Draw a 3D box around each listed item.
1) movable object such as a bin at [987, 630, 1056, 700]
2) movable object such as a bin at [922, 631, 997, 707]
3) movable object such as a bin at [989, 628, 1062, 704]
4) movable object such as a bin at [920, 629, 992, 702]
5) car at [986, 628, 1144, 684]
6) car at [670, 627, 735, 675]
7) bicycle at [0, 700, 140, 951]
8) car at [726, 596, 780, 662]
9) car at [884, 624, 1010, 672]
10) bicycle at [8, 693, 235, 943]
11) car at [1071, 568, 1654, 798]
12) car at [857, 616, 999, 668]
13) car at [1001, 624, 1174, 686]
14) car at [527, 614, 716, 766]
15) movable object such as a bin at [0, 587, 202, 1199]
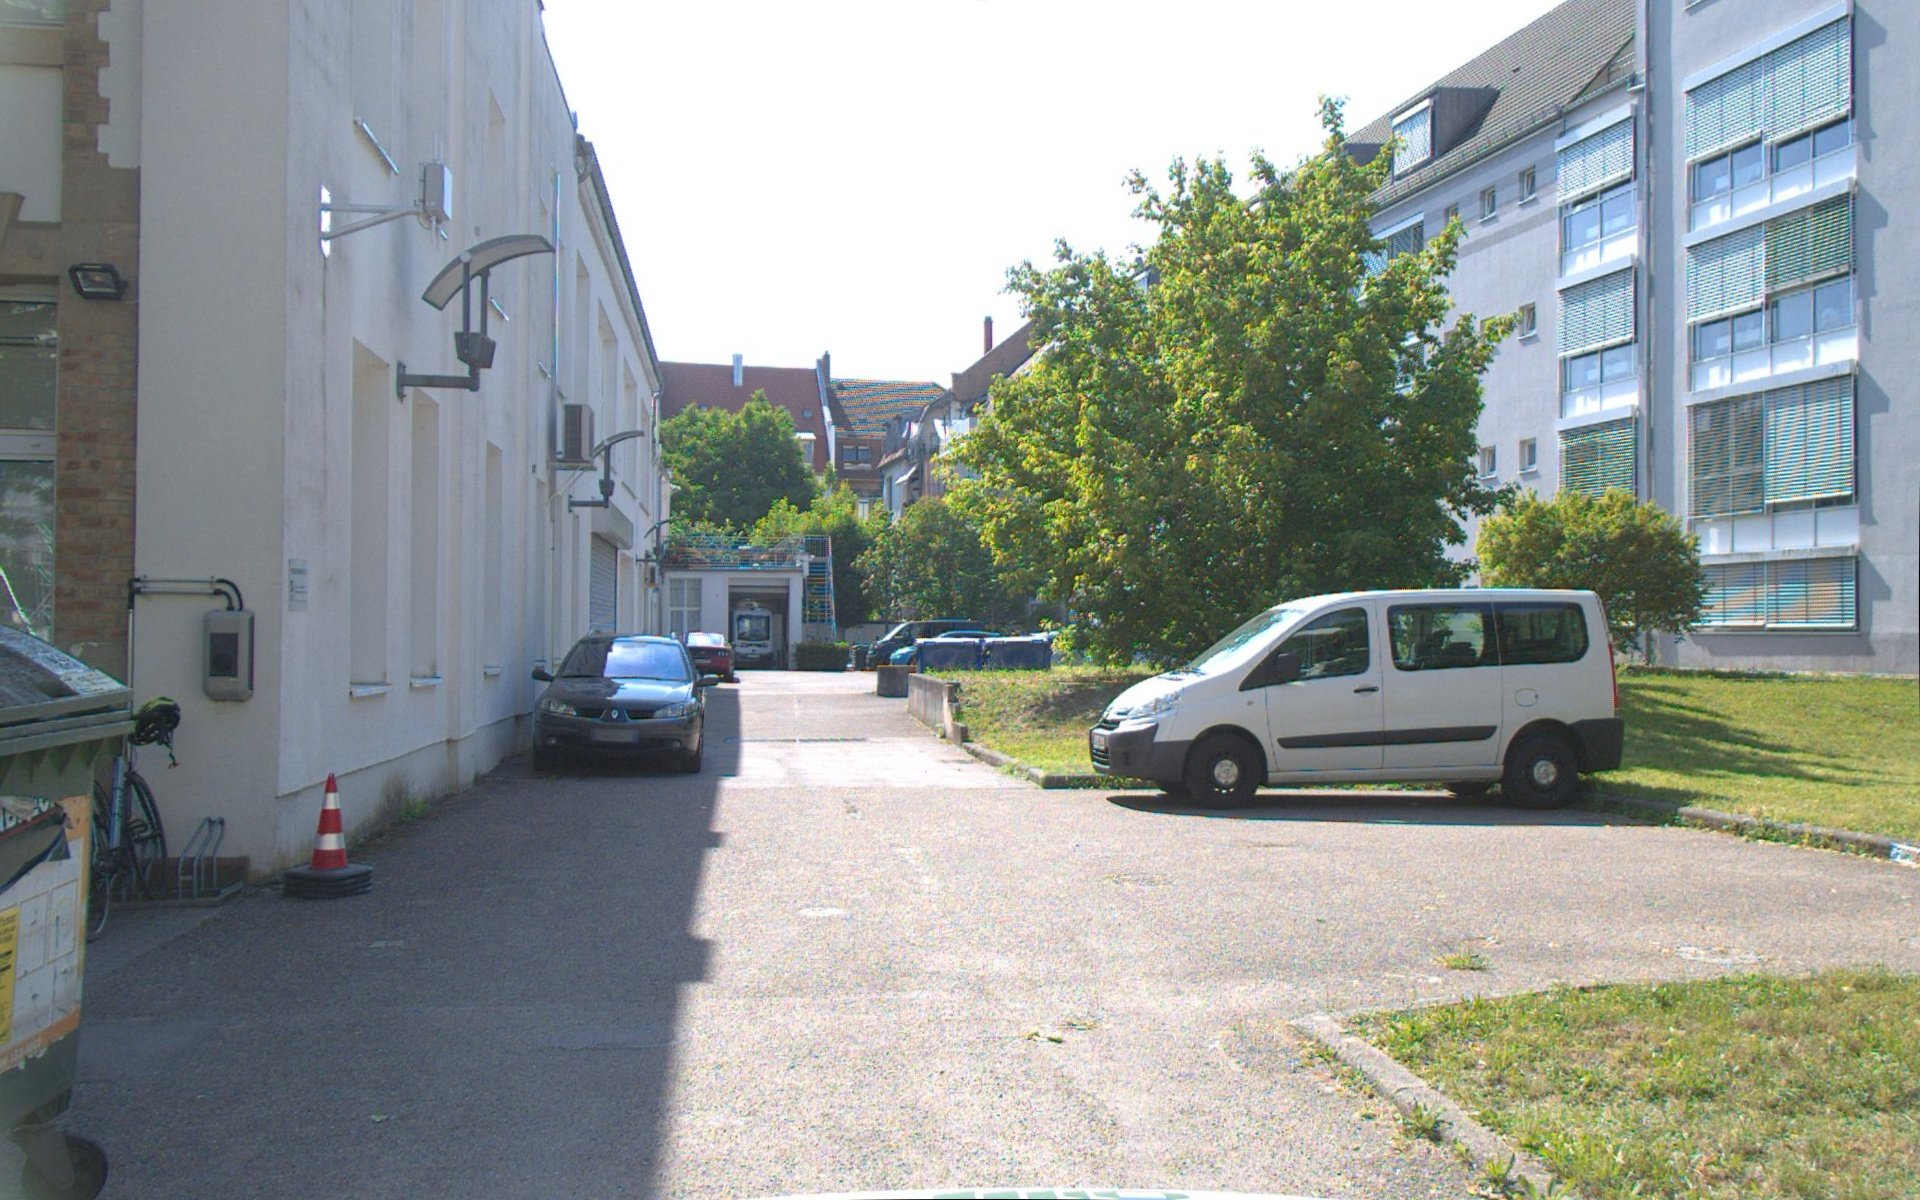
[{"bbox_3d":[1.207,1.268,32.666,1.134,1.360,1.139,0,-1,-11],"label":"movable object such as a bin"},{"bbox_3d":[-0.018,1.272,30.529,1.223,1.342,1.140,-2,-2,-6],"label":"movable object such as a bin"},{"bbox_3d":[1.215,1.217,30.840,1.223,1.364,1.141,0,-1,-5],"label":"movable object such as a bin"},{"bbox_3d":[-0.088,1.268,32.248,1.225,1.379,1.126,0,-1,-11],"label":"movable object such as a bin"},{"bbox_3d":[2.765,1.459,43.965,3.912,1.418,1.685,0,-1,-9],"label":"car"},{"bbox_3d":[-7.783,1.525,50.087,1.817,1.343,3.992,2,-1,-9],"label":"car"},{"bbox_3d":[-4.506,1.040,7.956,0.436,1.010,1.628,-1,0,-5],"label":"bicycle"},{"bbox_3d":[-8.775,1.254,69.946,2.133,2.653,6.722,-1,-1,-7],"label":"car"},{"bbox_3d":[-0.482,1.656,58.202,4.154,1.559,1.994,-1,0,-12],"label":"car"},{"bbox_3d":[-4.042,1.005,8.080,0.436,1.010,1.539,-1,0,-5],"label":"bicycle"},{"bbox_3d":[3.641,0.744,15.447,4.928,1.967,1.997,0,-1,-7],"label":"car"},{"bbox_3d":[-1.195,1.531,61.382,4.880,1.798,2.084,-1,0,-21],"label":"car"},{"bbox_3d":[3.096,1.326,40.590,3.915,1.452,1.807,0,-1,-11],"label":"car"},{"bbox_3d":[-3.696,1.004,18.721,1.802,1.467,4.420,2,-3,-8],"label":"car"},{"bbox_3d":[-2.510,0.708,3.595,1.221,1.456,1.347,0,-1,-9],"label":"movable object such as a bin"}]
